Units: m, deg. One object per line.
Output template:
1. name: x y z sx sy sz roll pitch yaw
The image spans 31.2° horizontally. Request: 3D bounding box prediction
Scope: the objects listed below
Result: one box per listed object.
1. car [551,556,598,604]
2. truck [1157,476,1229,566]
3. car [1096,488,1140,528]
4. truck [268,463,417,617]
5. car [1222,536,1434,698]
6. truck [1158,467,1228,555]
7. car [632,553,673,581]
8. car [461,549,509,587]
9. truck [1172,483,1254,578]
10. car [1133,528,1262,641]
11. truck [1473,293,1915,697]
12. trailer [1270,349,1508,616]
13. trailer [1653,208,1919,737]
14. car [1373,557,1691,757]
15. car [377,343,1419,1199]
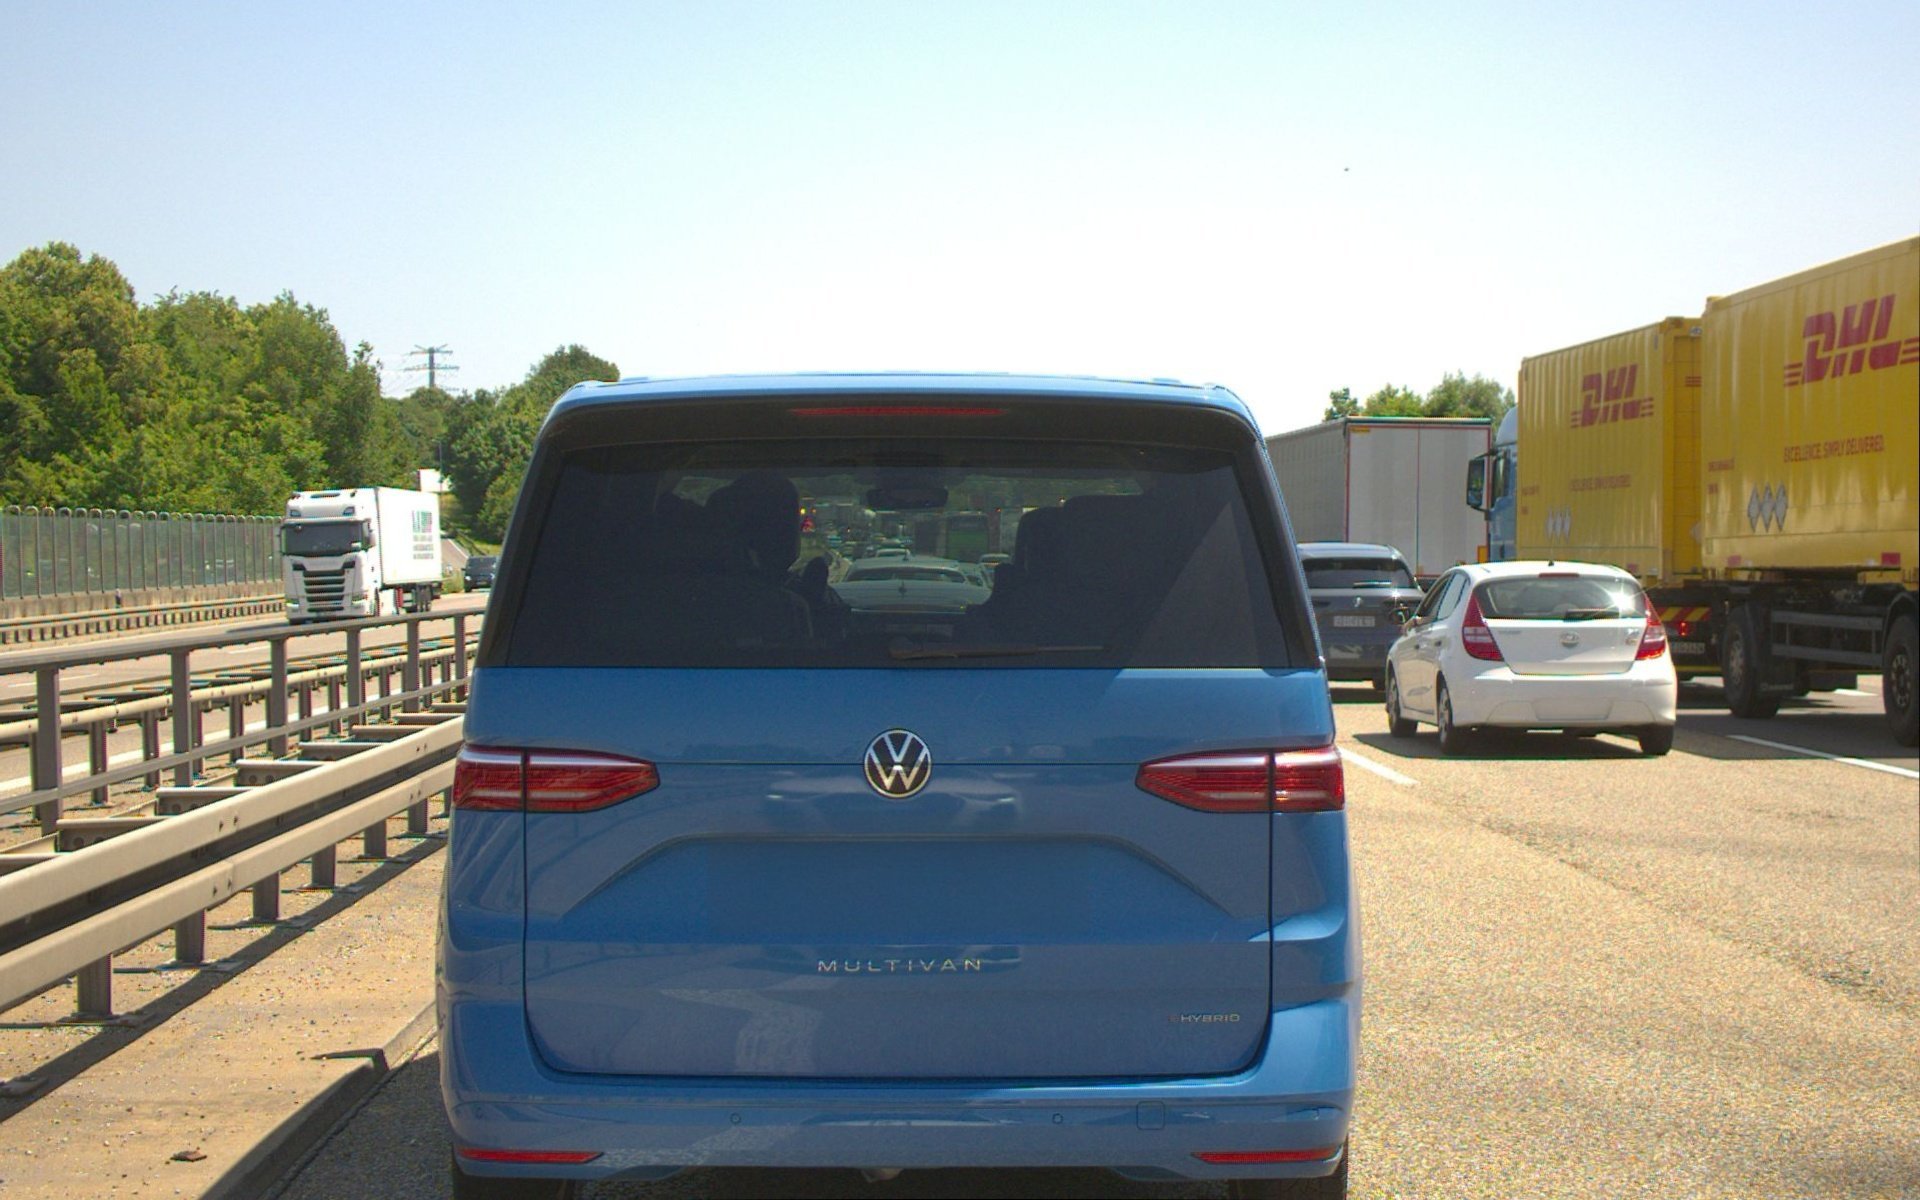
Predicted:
1. car: -21.852 -1.135 195.227 1.993 2.573 6.651 -3 0 -2
2. truck: 6.811 -2.280 100.784 1.742 2.540 4.210 1 0 0
3. car: 7.213 -4.211 157.487 1.797 1.745 3.943 1 0 0
4. truck: -18.279 -1.740 102.154 2.929 4.279 6.858 -3 0 0
5. car: 4.005 0.166 37.956 1.815 1.673 3.932 1 0 -1
6. truck: 7.172 -2.713 105.999 1.797 2.587 4.305 1 0 0
7. car: -16.677 -1.799 186.531 1.772 1.486 4.605 -1 1 0
8. car: -24.952 -1.672 180.679 1.957 1.899 4.951 -2 0 -2
9. truck: 6.726 -1.815 91.750 1.798 2.441 4.504 1 0 0
10. car: 4.196 -0.271 61.365 1.962 1.929 3.932 1 0 -1
11. truck: 8.226 -1.092 40.013 2.699 4.074 9.940 1 0 -2
12. trailer: 7.919 -2.060 64.996 3.026 4.595 10.925 1 0 0
13. trailer: 8.576 -0.989 30.567 2.682 4.074 8.981 1 0 -2
14. car: 4.483 0.413 27.491 1.815 1.465 3.932 1 0 -1
15. car: -0.140 0.456 8.437 1.930 1.867 4.000 1 0 -1
